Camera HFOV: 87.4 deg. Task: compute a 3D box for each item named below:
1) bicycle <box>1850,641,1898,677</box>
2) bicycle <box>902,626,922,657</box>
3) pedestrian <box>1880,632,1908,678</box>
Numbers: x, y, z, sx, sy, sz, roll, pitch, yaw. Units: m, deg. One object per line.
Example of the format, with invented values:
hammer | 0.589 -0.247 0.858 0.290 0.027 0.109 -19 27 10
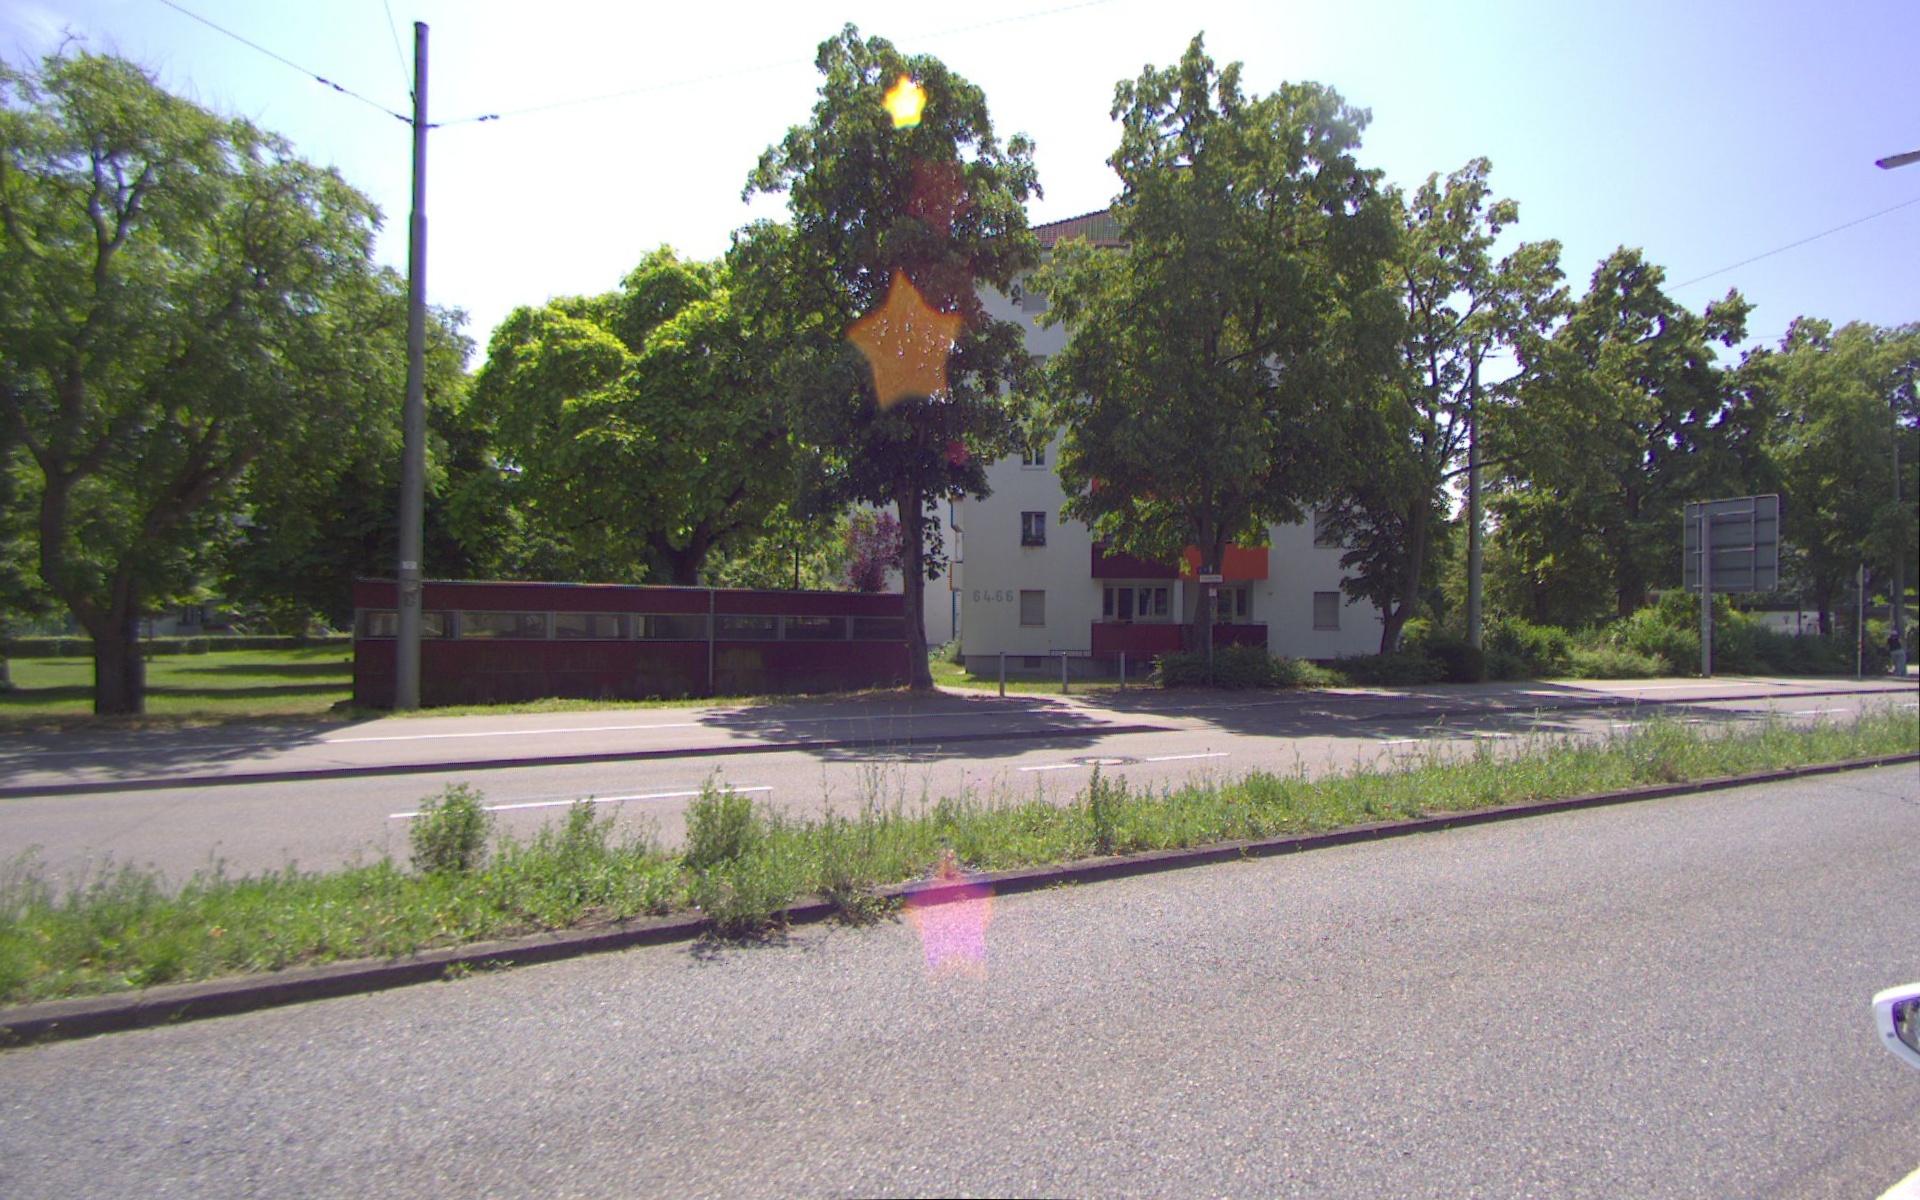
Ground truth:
bicycle | 35.523 2.286 39.026 1.547 1.345 0.646 2 -1 -15
bicycle | -2.135 1.811 44.554 0.699 1.330 1.859 1 -2 -8
pedestrian | 35.779 2.114 38.463 0.593 1.741 0.549 2 -1 -14
